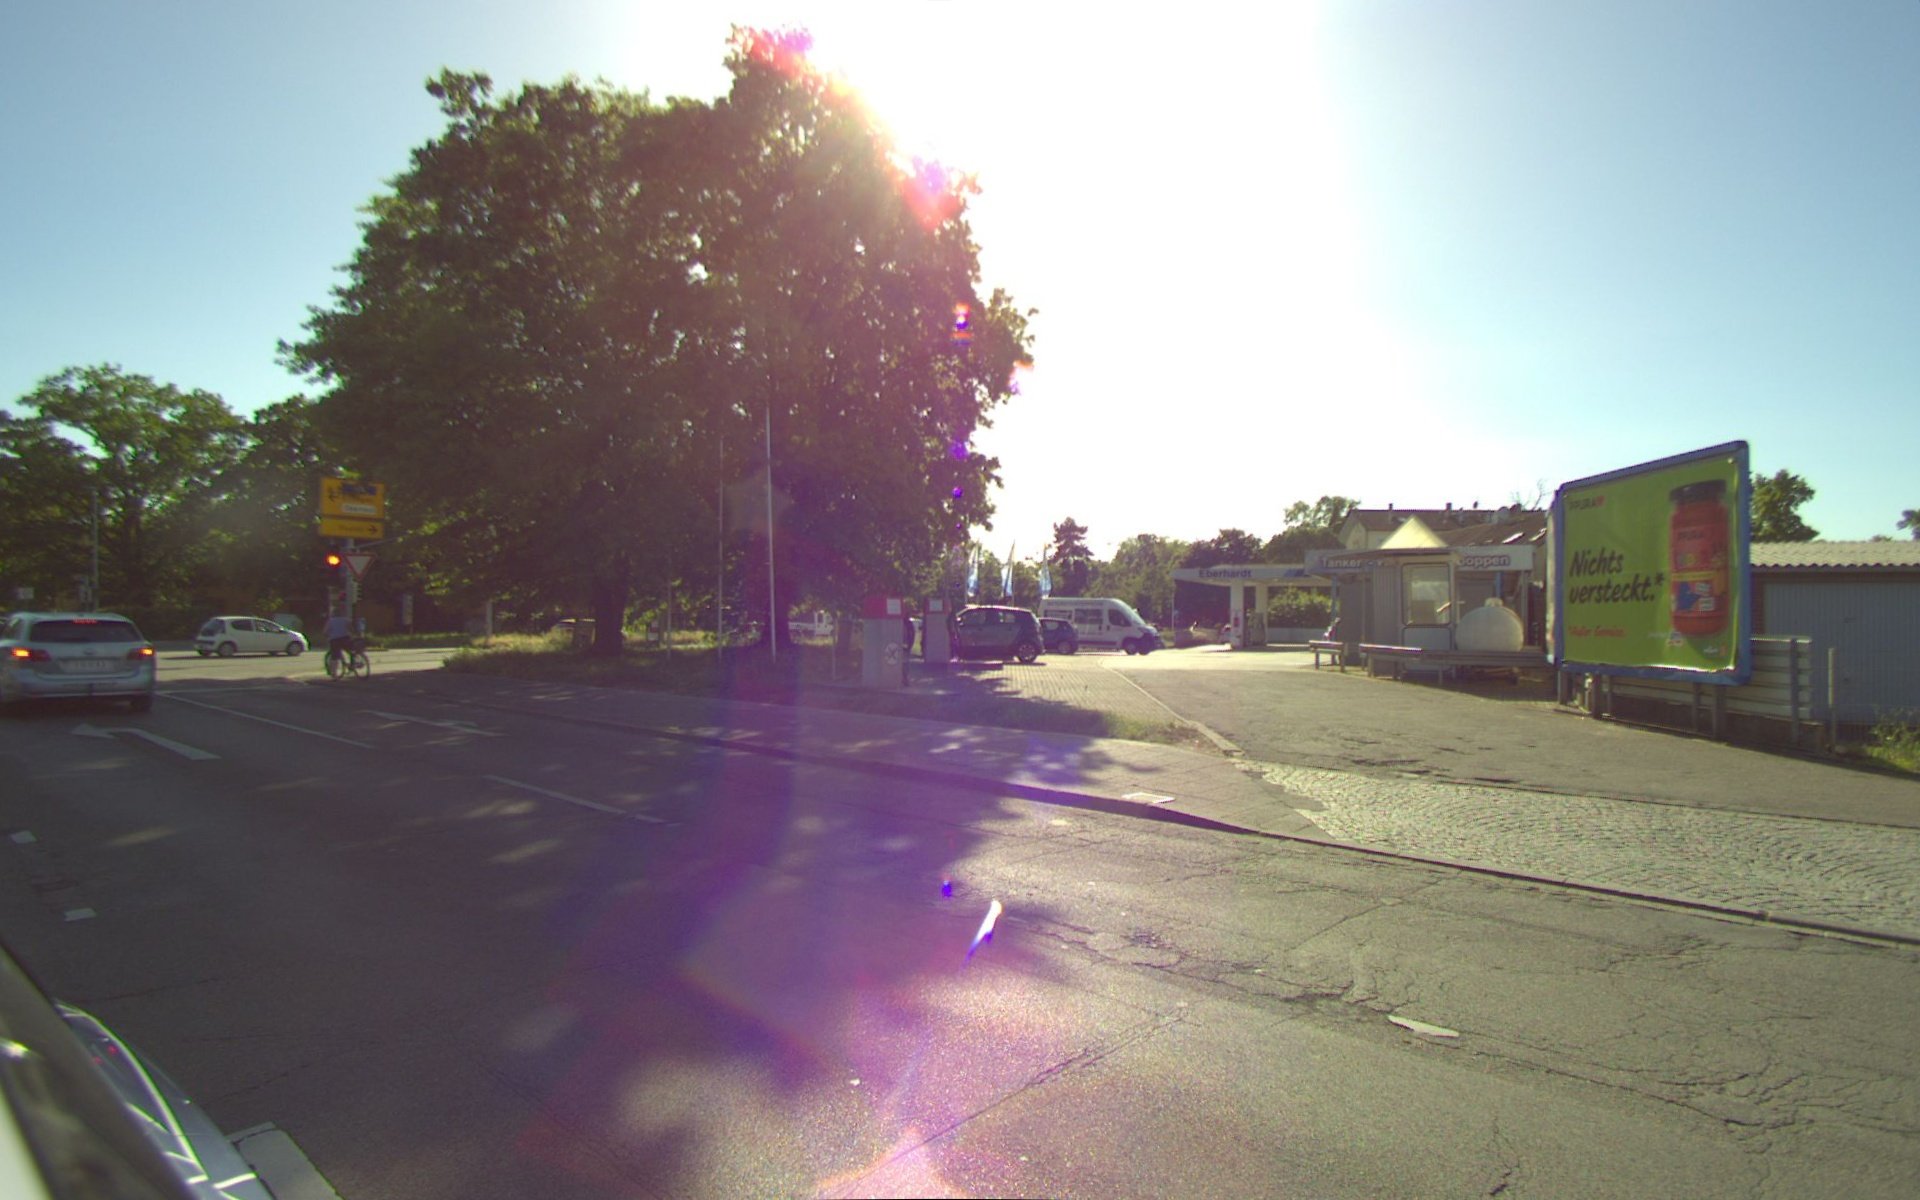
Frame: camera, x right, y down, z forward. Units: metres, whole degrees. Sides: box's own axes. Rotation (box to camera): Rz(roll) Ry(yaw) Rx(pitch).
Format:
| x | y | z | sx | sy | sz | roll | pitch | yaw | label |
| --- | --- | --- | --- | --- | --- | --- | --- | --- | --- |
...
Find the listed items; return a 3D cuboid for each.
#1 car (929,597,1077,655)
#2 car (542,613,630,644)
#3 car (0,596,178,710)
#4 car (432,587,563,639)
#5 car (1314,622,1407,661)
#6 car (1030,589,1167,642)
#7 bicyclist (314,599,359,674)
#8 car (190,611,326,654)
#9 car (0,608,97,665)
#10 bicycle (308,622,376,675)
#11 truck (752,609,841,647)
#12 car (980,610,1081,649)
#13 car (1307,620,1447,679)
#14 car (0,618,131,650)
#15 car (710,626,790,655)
| x | y | z | sx | sy | sz | roll | pitch | yaw | label |
| --- | --- | --- | --- | --- | --- | --- | --- | --- | --- |
| 1.222 | 0.726 | 28.209 | 3.950 | 1.386 | 1.757 | 2 | -1 | 6 | car |
| -18.723 | 1.455 | 50.826 | 1.685 | 1.451 | 4.081 | 0 | -2 | 28 | car |
| -13.890 | 0.774 | 15.666 | 4.886 | 1.500 | 1.818 | -1 | -3 | 41 | car |
| -15.300 | 0.437 | 33.519 | 3.969 | 1.523 | 1.522 | 2 | -1 | 20 | car |
| 19.435 | 1.987 | 49.136 | 4.064 | 1.684 | 1.571 | 2 | -1 | 28 | car |
| 6.097 | 0.670 | 44.767 | 5.627 | 2.115 | 1.981 | 2 | -1 | 28 | car |
| -13.950 | 0.810 | 22.652 | 0.828 | 1.654 | 0.536 | -1 | -2 | 35 | bicyclist |
| -26.364 | 1.179 | 38.136 | 1.685 | 1.451 | 3.874 | 0 | 1 | 28 | car |
| -26.916 | 0.982 | 27.913 | 1.913 | 1.497 | 4.320 | 2 | -1 | 30 | car |
| -13.803 | 1.065 | 22.577 | 2.021 | 1.150 | 0.522 | -1 | -2 | 36 | bicycle |
| -10.636 | 1.881 | 66.519 | 2.181 | 2.327 | 6.710 | -1 | -2 | 28 | truck |
| 2.834 | 1.159 | 40.483 | 3.863 | 1.347 | 1.568 | 2 | -1 | 9 | car |
| 13.426 | 1.554 | 32.577 | 3.981 | 1.619 | 1.981 | 2 | -1 | 28 | car |
| -37.370 | 1.396 | 41.881 | 1.684 | 1.238 | 4.460 | -1 | -2 | 27 | car |
| -11.819 | 2.272 | 57.162 | 1.916 | 1.497 | 4.314 | 2 | -1 | 34 | car |
